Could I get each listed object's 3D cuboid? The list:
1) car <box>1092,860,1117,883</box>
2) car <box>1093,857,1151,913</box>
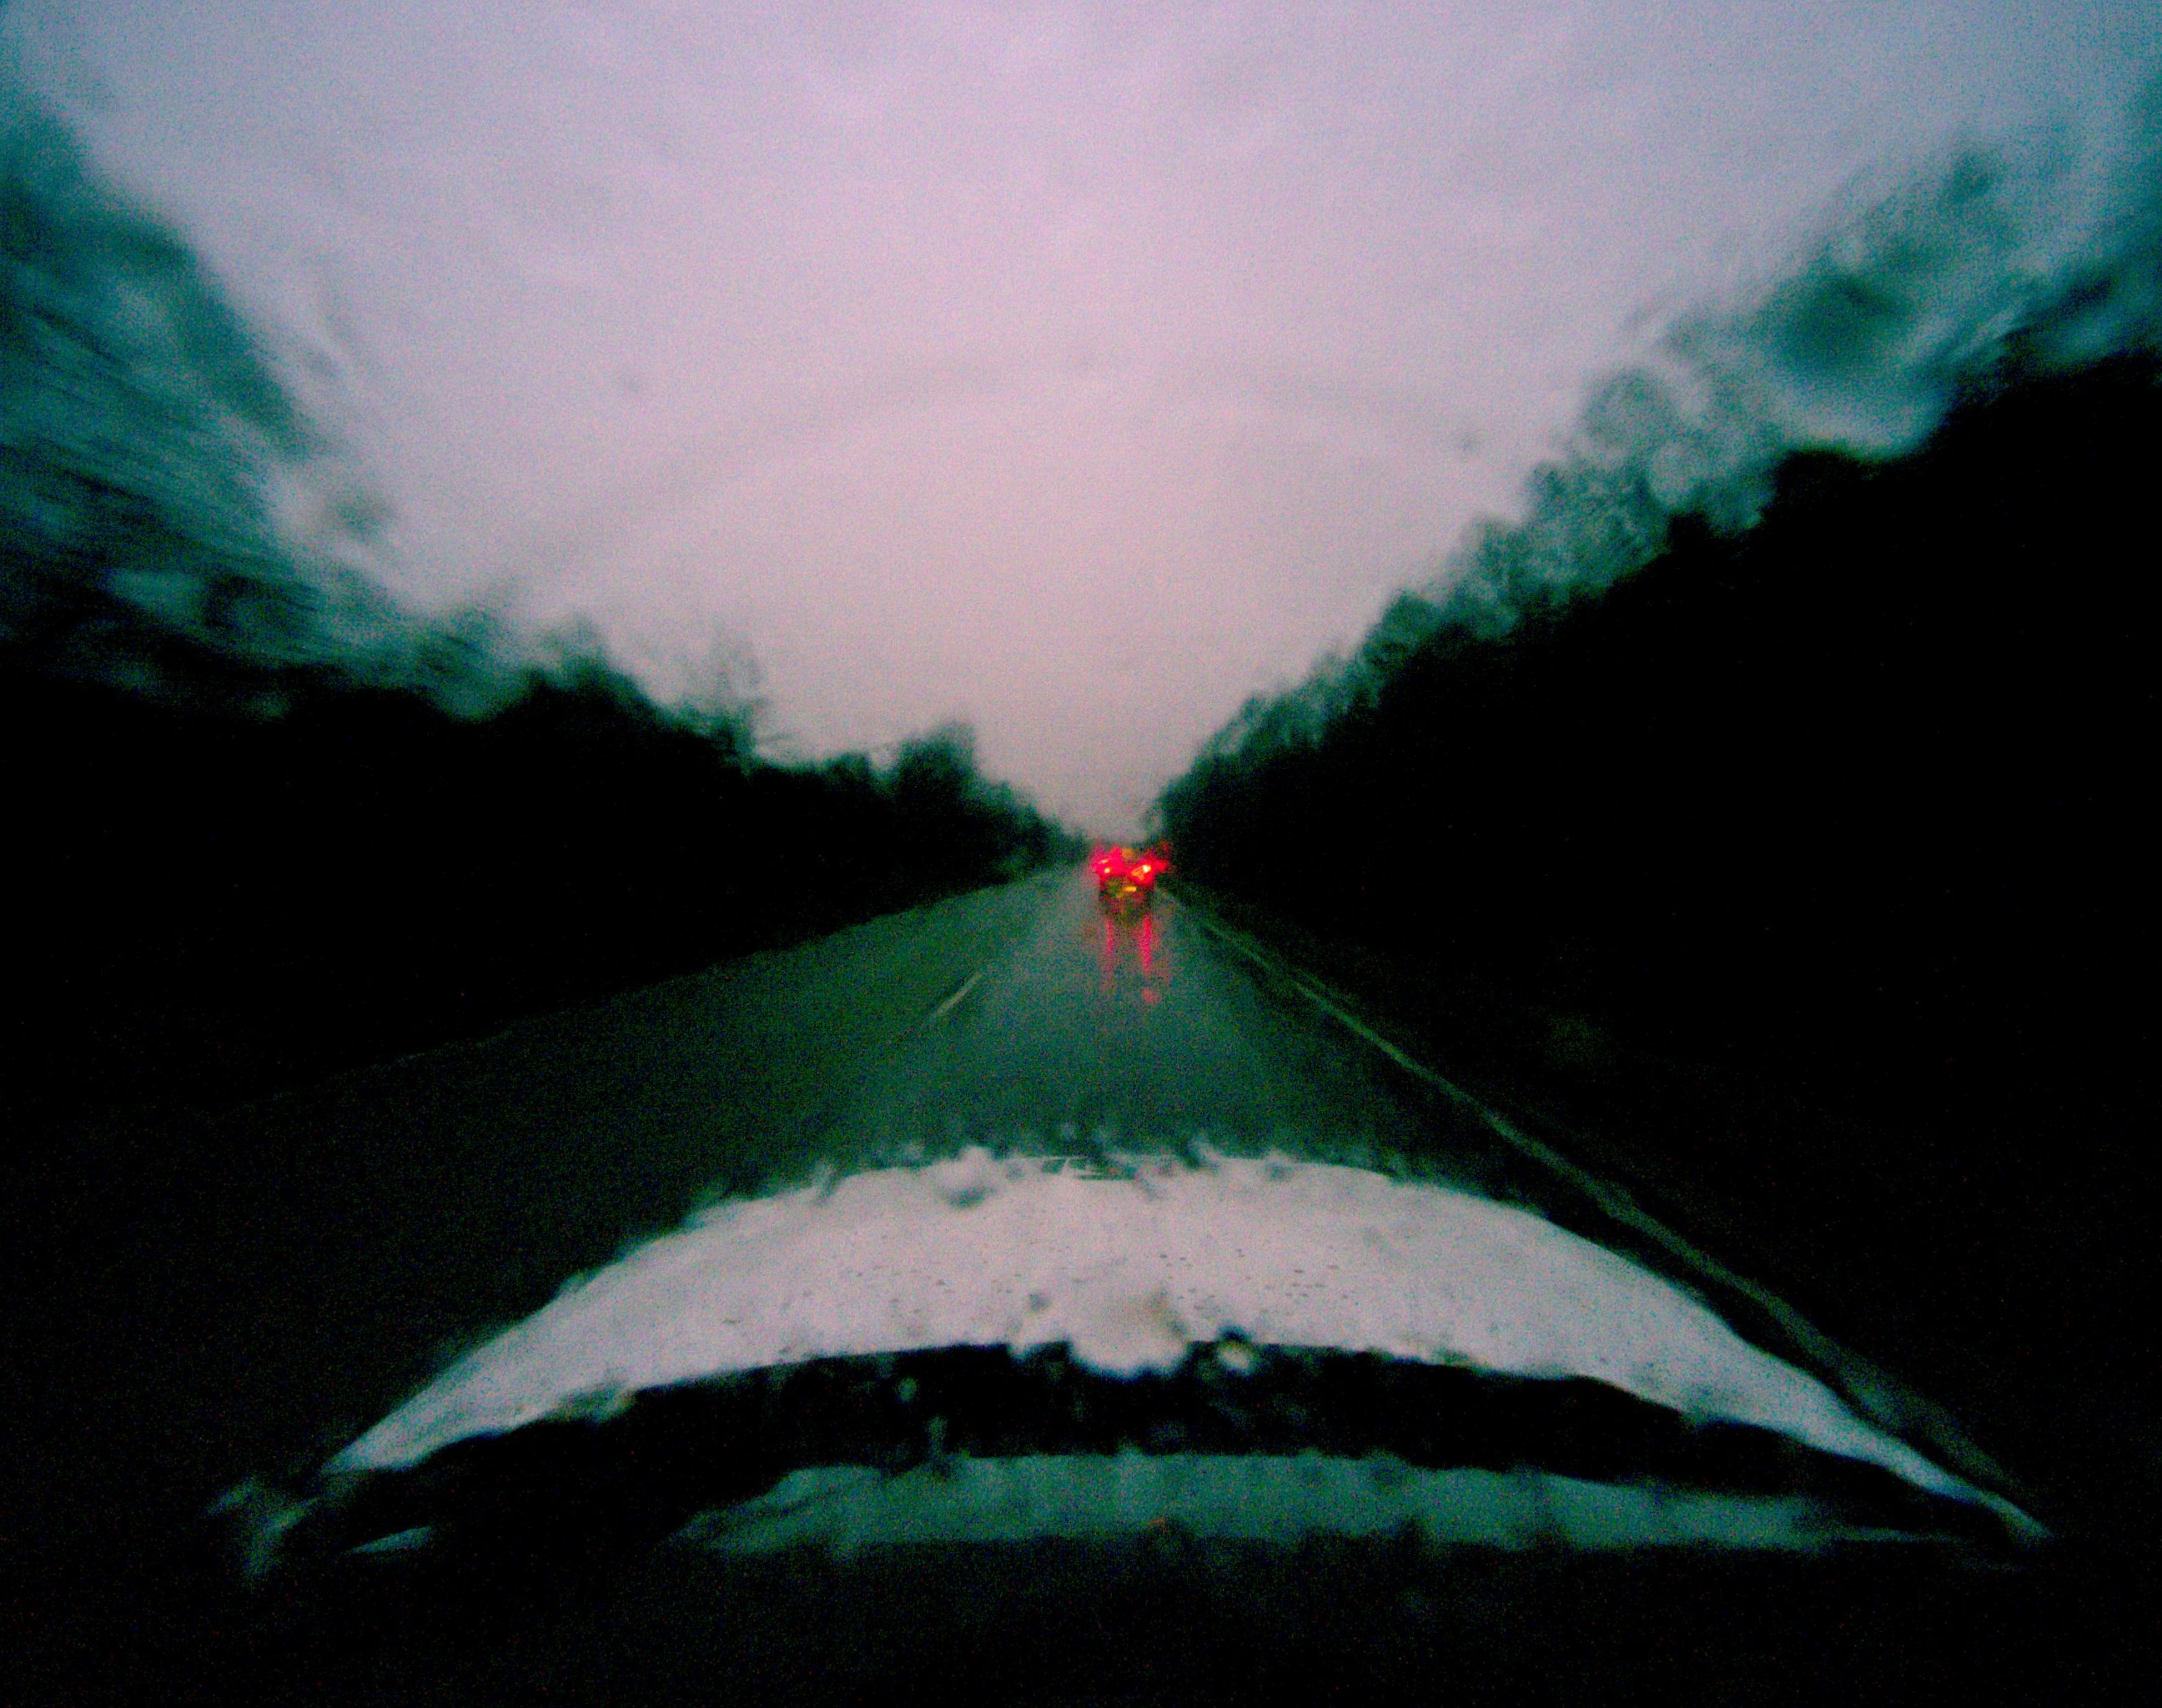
[{"bbox_3d":[1.779,1.247,59.868,1.720,1.643,4.003,-1,-1,3],"label":"car"},{"bbox_3d":[1.323,0.947,26.259,1.720,1.643,4.003,-1,-1,3],"label":"car"}]
